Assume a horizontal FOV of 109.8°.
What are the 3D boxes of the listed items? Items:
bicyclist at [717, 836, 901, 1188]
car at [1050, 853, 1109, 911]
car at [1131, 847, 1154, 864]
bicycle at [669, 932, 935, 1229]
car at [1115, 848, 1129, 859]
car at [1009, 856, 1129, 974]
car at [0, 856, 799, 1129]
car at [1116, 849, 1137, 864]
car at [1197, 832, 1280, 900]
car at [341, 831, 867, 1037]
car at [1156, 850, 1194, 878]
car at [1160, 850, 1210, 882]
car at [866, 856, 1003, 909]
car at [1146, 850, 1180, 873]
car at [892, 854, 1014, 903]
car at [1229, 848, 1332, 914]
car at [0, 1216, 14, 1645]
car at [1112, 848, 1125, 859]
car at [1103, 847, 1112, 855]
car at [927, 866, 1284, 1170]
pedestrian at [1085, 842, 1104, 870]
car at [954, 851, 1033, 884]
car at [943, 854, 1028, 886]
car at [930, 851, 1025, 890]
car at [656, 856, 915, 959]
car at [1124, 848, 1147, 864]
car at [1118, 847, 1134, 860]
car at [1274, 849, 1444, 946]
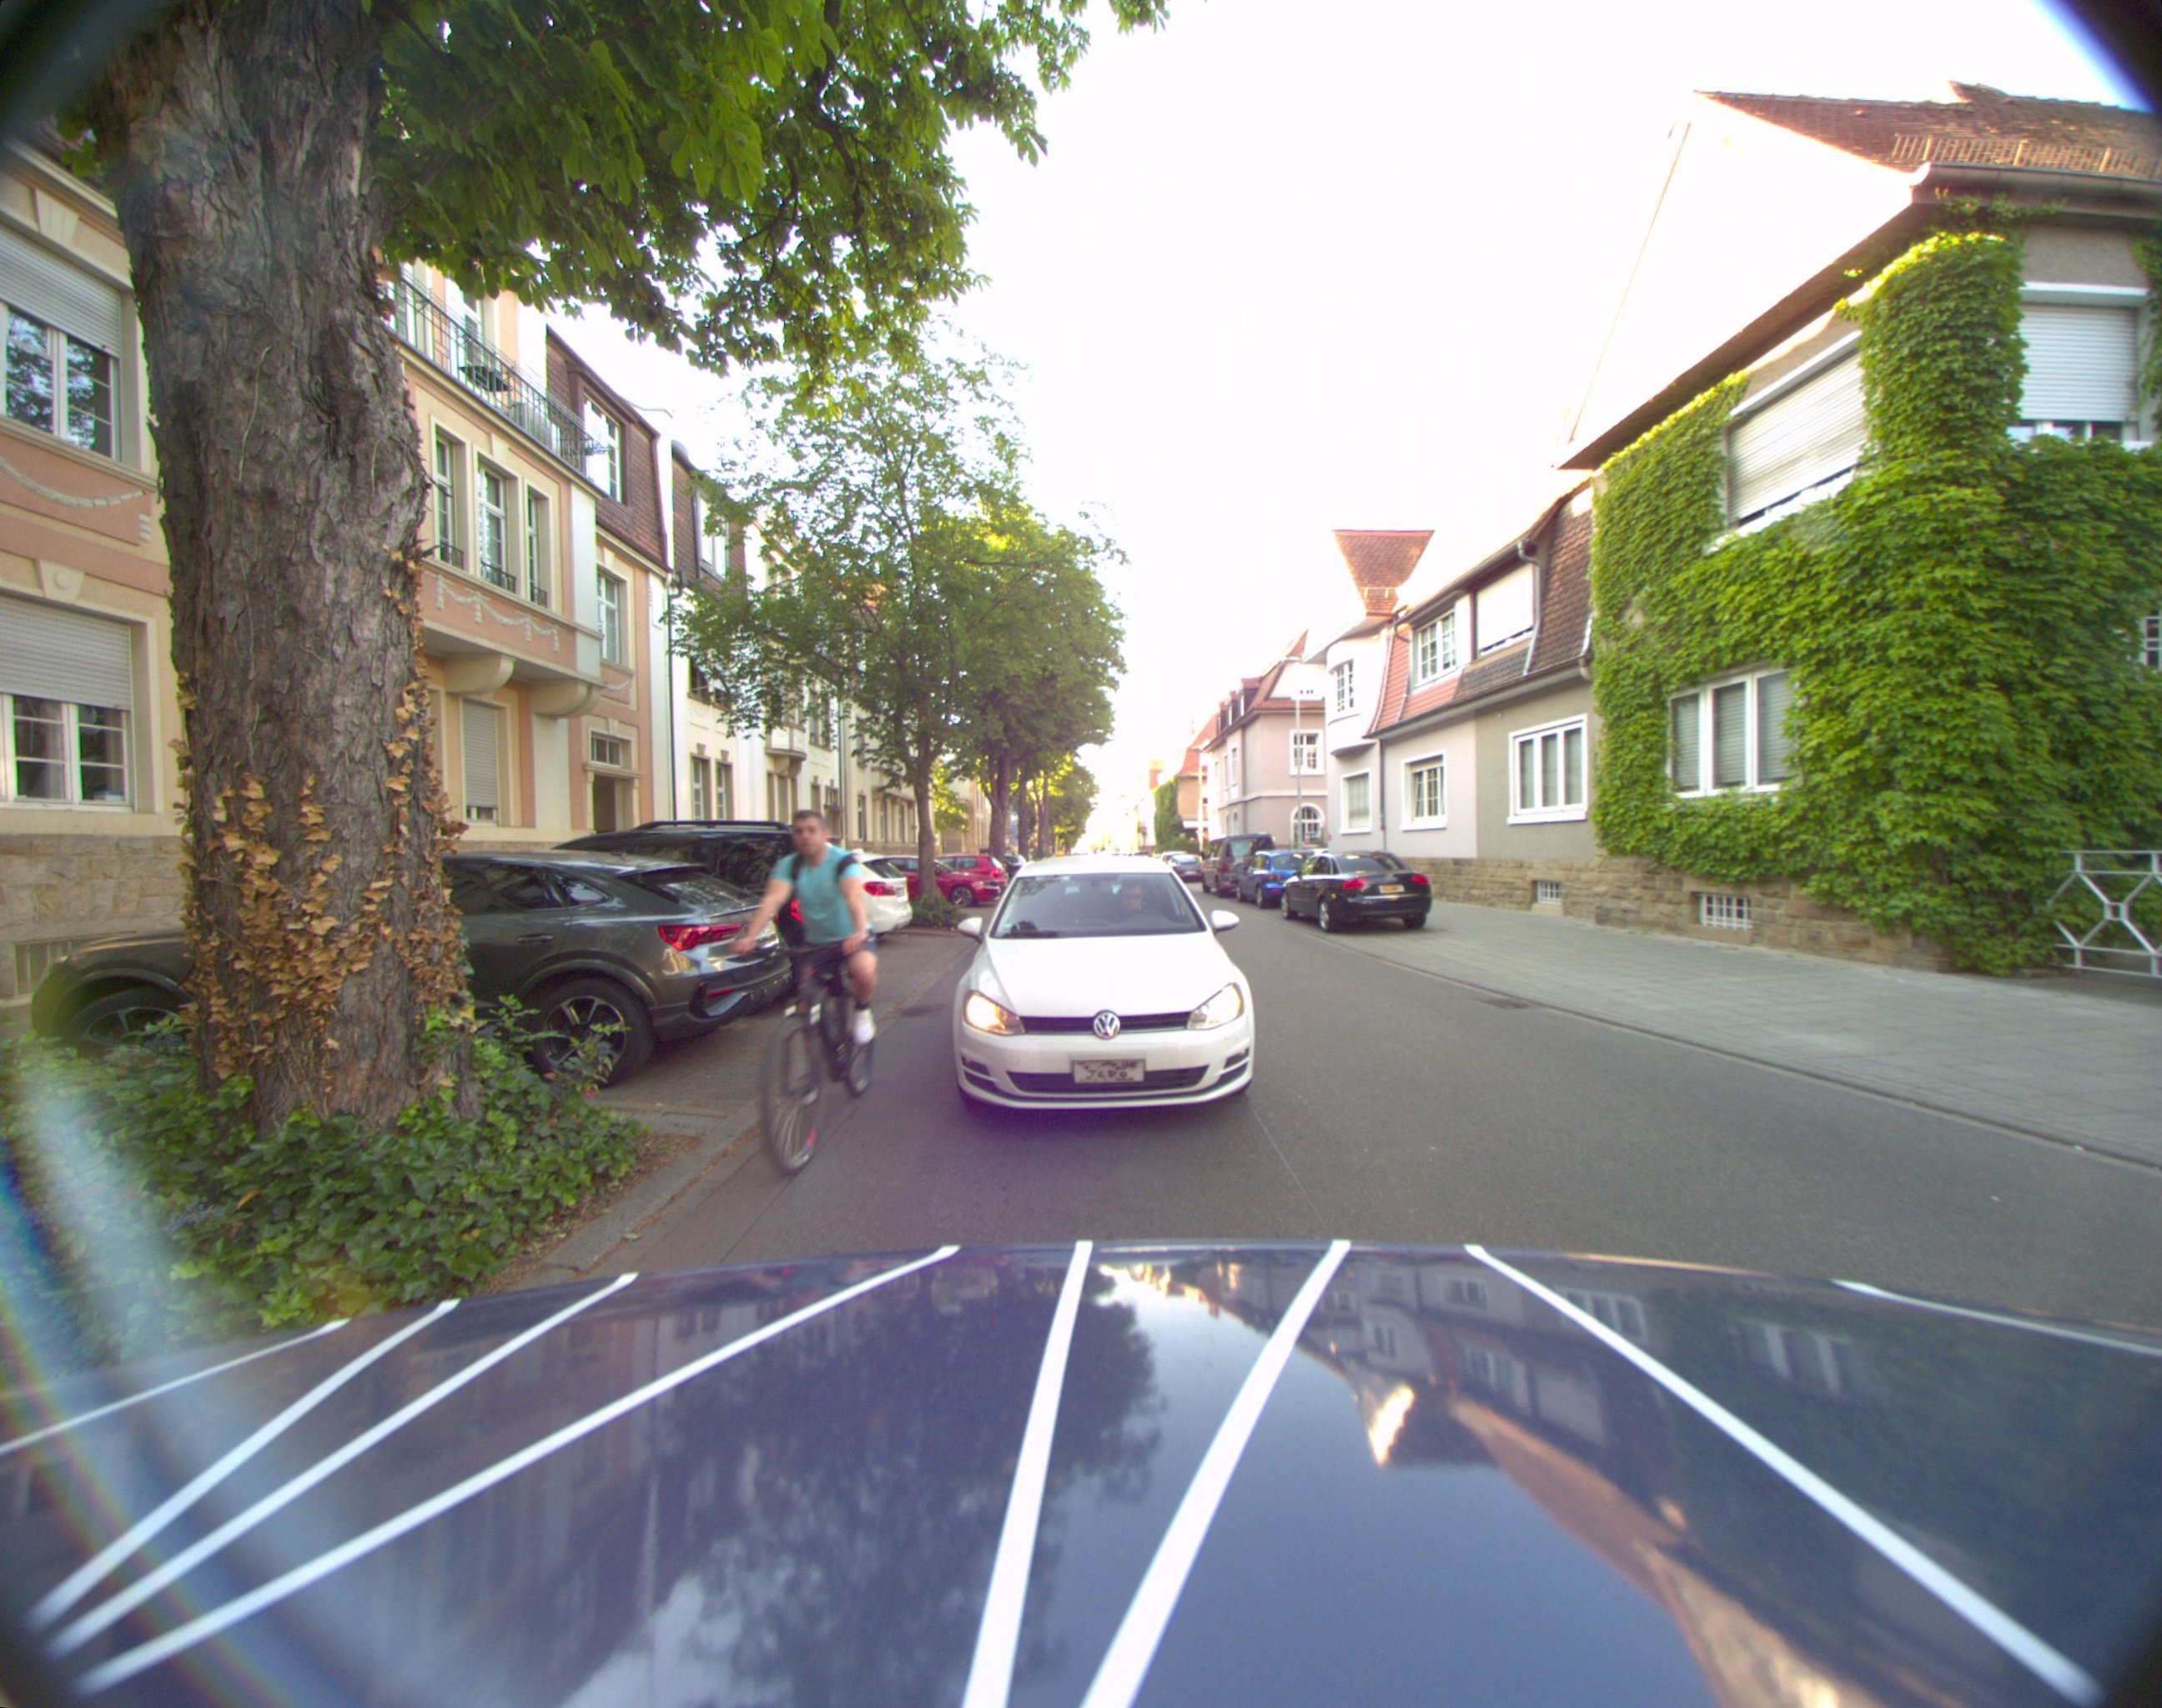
[{"bbox_3d":[-1.470,0.799,4.253,0.648,1.765,0.830,-2,1,1],"label":"bicyclist"},{"bbox_3d":[-0.015,0.767,22.504,1.560,1.546,3.738,1,0,1],"label":"car"},{"bbox_3d":[5.482,0.127,68.301,1.643,1.461,3.945,-3,0,0],"label":"car"},{"bbox_3d":[-1.451,1.128,4.438,0.744,1.111,2.013,-2,0,1],"label":"bicycle"},{"bbox_3d":[5.451,-0.070,101.581,1.643,1.461,3.689,-3,0,0],"label":"car"},{"bbox_3d":[-0.140,0.831,12.243,1.600,1.546,4.000,1,0,1],"label":"car"},{"bbox_3d":[-4.393,0.846,5.419,4.173,1.583,1.594,1,1,-4],"label":"car"},{"bbox_3d":[4.800,0.231,80.759,1.643,1.461,3.688,-3,1,-4],"label":"car"},{"bbox_3d":[5.122,0.333,25.262,1.719,1.961,4.310,-4,1,0],"label":"car"},{"bbox_3d":[-4.439,0.707,7.603,4.173,1.816,1.594,1,1,-4],"label":"car"},{"bbox_3d":[5.162,0.528,42.183,1.541,1.363,3.945,-3,0,0],"label":"car"},{"bbox_3d":[4.977,0.544,36.822,1.719,1.363,4.334,-3,0,0],"label":"car"},{"bbox_3d":[-4.137,0.794,21.813,3.622,1.395,1.537,1,1,0],"label":"car"},{"bbox_3d":[5.439,0.450,50.663,1.719,1.363,3.945,-3,0,0],"label":"car"},{"bbox_3d":[-4.048,0.757,24.347,3.622,1.456,1.537,1,1,0],"label":"car"},{"bbox_3d":[5.219,0.629,20.427,1.611,1.455,4.023,-4,1,0],"label":"car"},{"bbox_3d":[-4.667,0.790,0.523,4.835,1.814,1.880,1,1,-4],"label":"car"},{"bbox_3d":[5.717,-0.071,115.929,1.643,1.461,3.689,-3,0,0],"label":"car"},{"bbox_3d":[5.220,-0.557,148.818,1.643,1.461,3.689,-3,0,0],"label":"car"},{"bbox_3d":[0.092,0.878,5.949,1.799,1.420,4.023,-2,0,-1],"label":"car"},{"bbox_3d":[0.974,0.161,54.906,1.190,2.002,0.930,1,1,-10],"label":"pedestrian"},{"bbox_3d":[-4.205,0.634,36.857,3.622,1.555,1.537,0,1,0],"label":"car"},{"bbox_3d":[-4.276,0.714,34.237,3.622,1.395,1.537,0,1,0],"label":"car"},{"bbox_3d":[-4.176,0.640,30.951,3.622,1.555,1.537,0,1,0],"label":"car"},{"bbox_3d":[-4.661,0.833,12.381,3.623,1.541,1.537,1,1,-4],"label":"car"},{"bbox_3d":[5.404,0.226,75.369,1.643,1.461,3.688,-3,1,-4],"label":"car"},{"bbox_3d":[5.392,-0.068,91.225,1.643,1.461,3.689,-3,0,-1],"label":"car"},{"bbox_3d":[5.055,0.703,14.423,1.751,1.421,4.023,-4,1,1],"label":"car"}]
